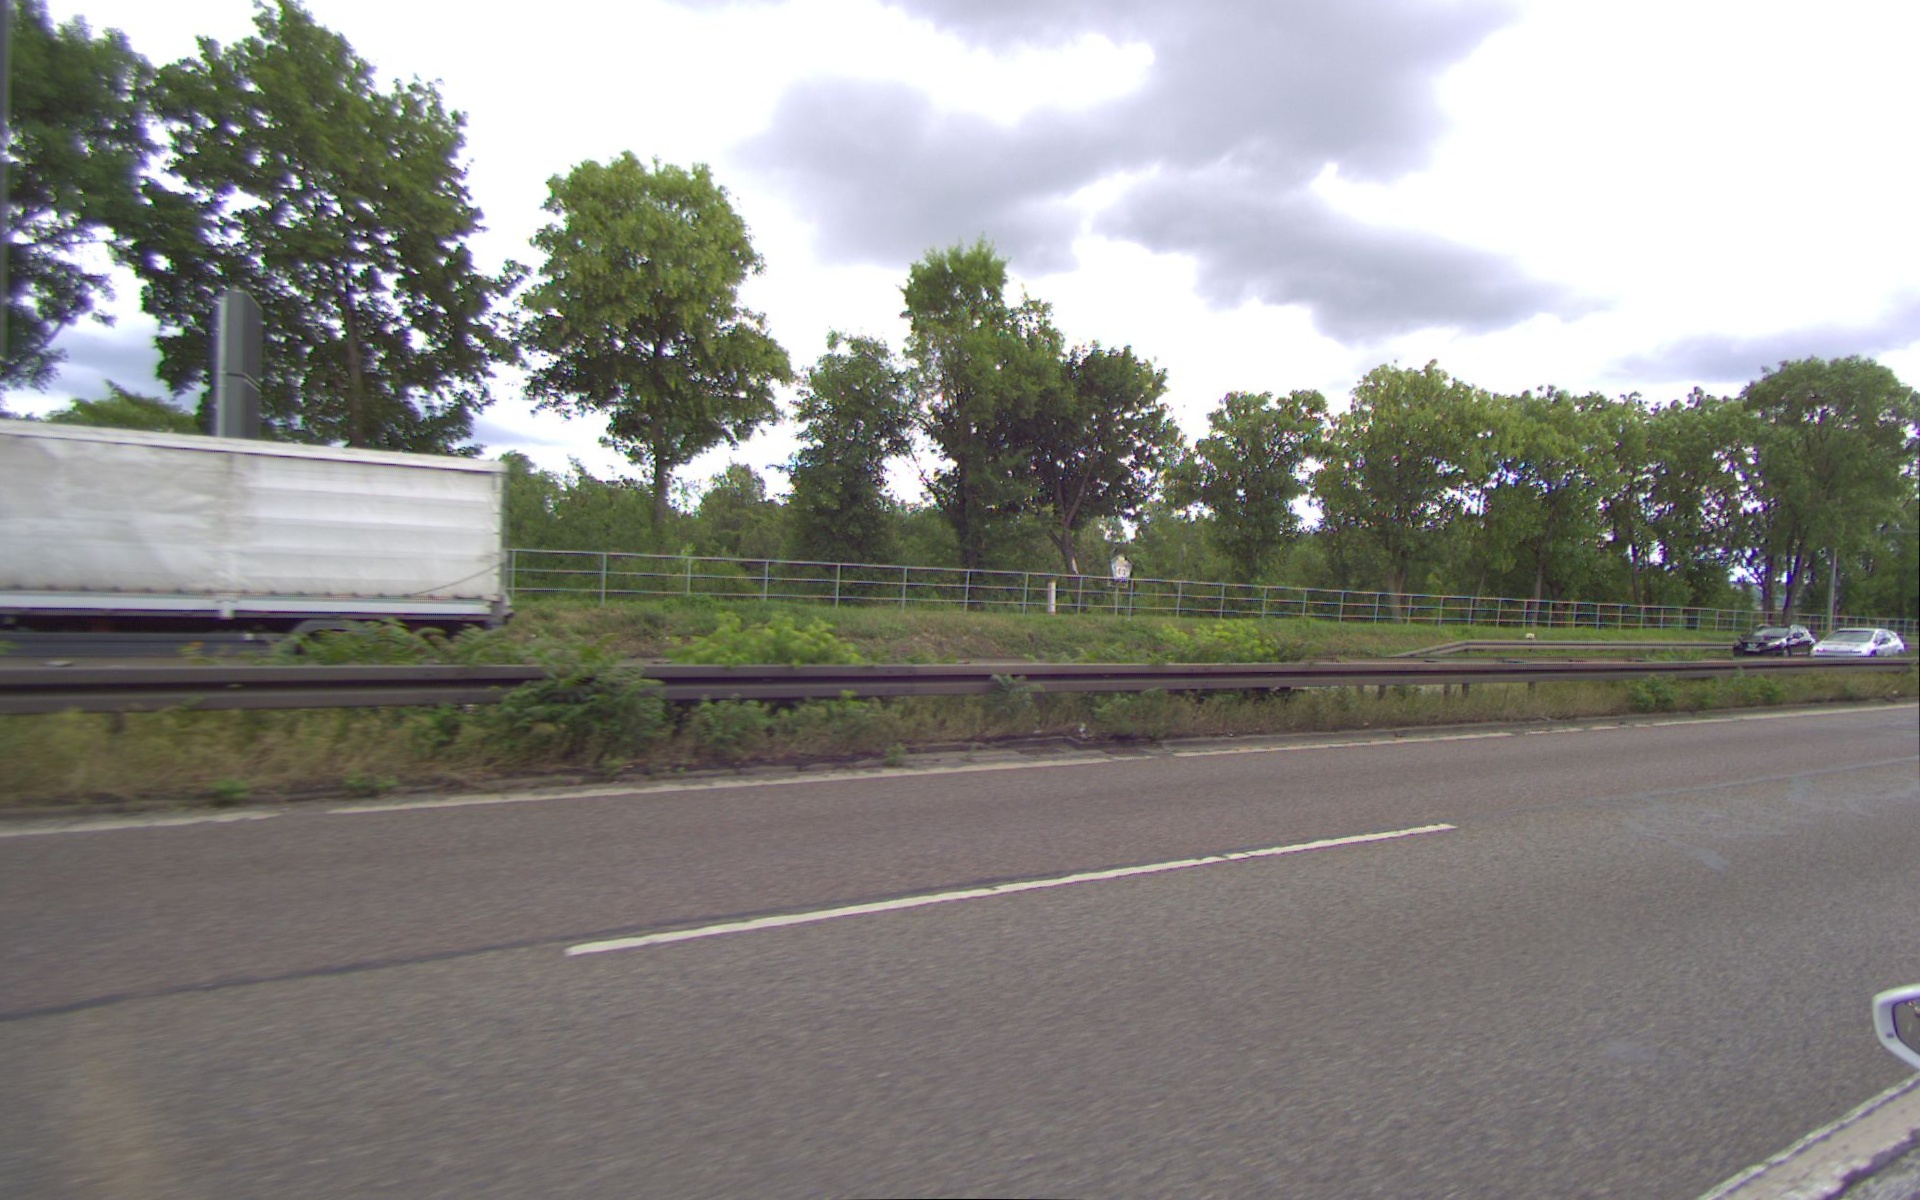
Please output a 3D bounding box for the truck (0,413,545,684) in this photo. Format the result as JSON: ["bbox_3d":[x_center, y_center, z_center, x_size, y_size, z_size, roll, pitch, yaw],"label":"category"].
[{"bbox_3d":[-11.793,-0.660,15.739,9.471,3.626,2.876,2,1,-29],"label":"truck"}]

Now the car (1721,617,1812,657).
[{"bbox_3d":[34.191,1.557,42.545,3.995,1.626,1.718,1,-1,-30],"label":"car"}]

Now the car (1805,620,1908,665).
[{"bbox_3d":[34.459,1.621,38.571,4.485,1.626,1.689,1,-1,-30],"label":"car"}]
